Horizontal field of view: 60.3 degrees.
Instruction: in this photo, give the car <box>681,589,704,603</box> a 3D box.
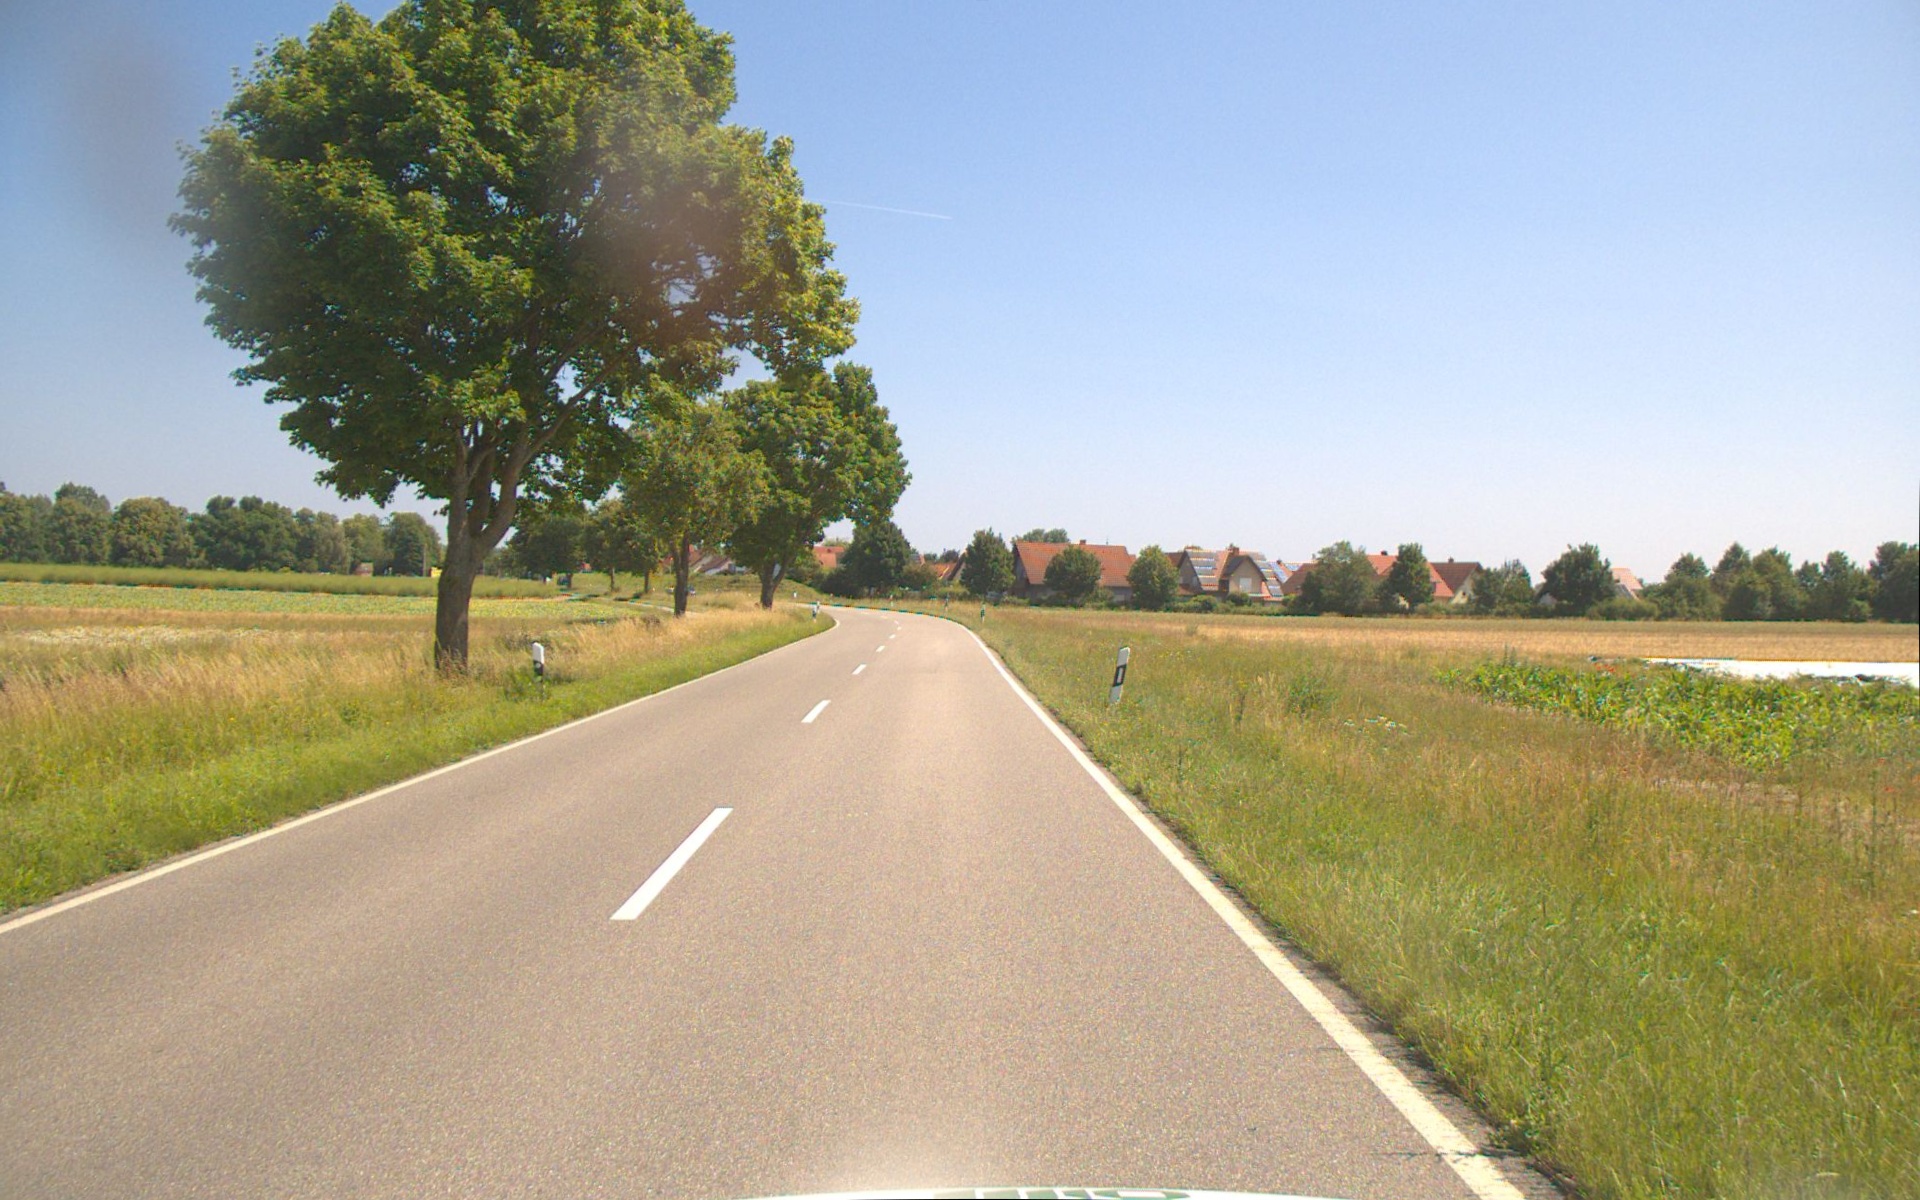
[{"bbox_3d":[-29.089,-0.401,179.628,1.620,1.454,4.155,-2,1,-20],"label":"car"}]
